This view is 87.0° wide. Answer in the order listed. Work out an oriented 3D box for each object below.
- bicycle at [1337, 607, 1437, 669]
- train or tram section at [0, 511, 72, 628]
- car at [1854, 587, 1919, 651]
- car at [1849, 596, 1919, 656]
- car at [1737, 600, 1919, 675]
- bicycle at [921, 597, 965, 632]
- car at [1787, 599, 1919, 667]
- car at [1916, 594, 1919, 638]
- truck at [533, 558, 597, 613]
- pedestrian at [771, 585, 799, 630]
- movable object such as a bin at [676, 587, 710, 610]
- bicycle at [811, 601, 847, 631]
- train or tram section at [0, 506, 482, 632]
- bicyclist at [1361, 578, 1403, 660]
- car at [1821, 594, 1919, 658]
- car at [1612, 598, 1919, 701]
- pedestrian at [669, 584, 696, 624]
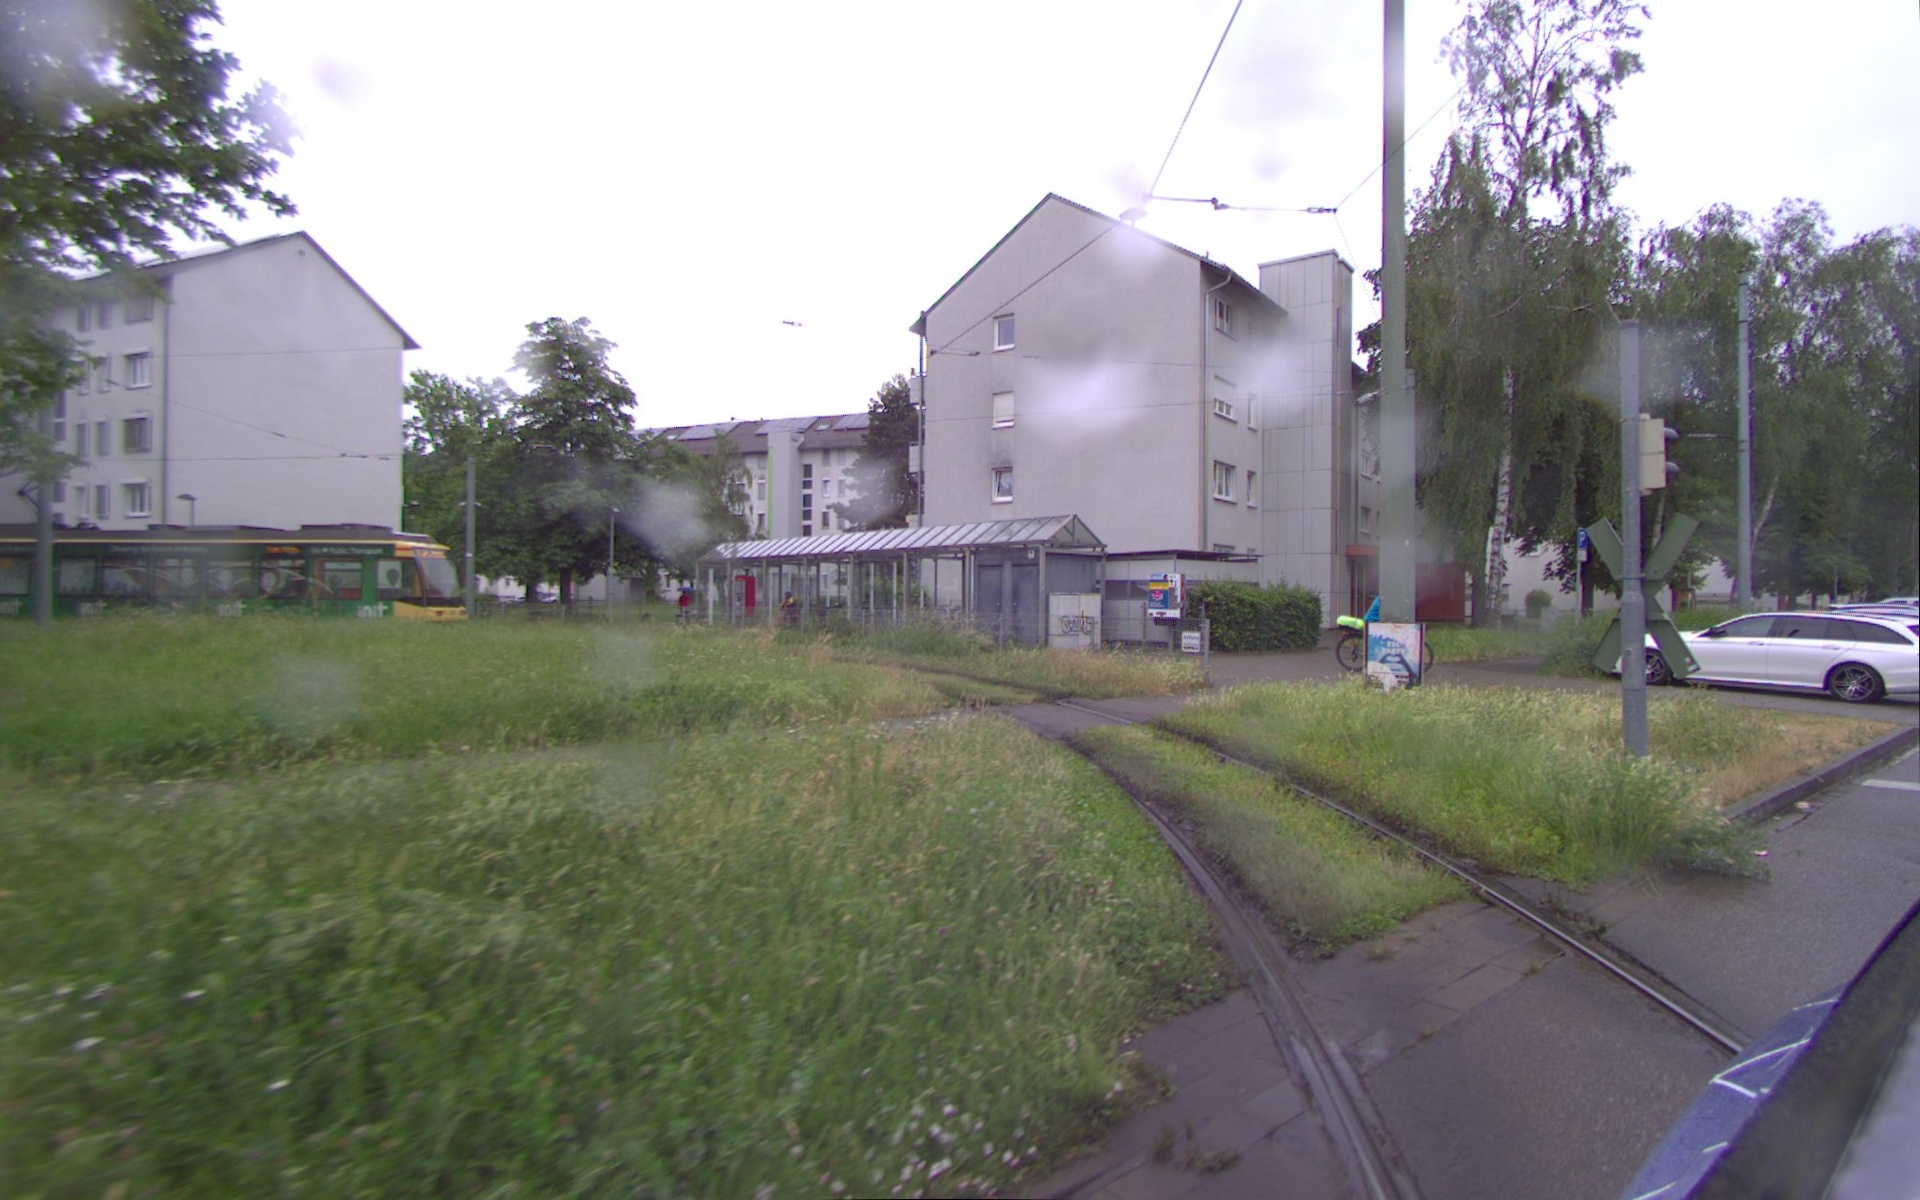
[{"bbox_3d":[8.209,0.722,19.541,1.731,1.144,0.724,0,-1,20],"label":"bicycle"},{"bbox_3d":[-36.885,-0.963,33.073,14.481,3.636,2.709,0,-1,6],"label":"train or tram section"},{"bbox_3d":[32.623,0.611,33.436,1.694,2.088,4.434,0,-2,-43],"label":"car"},{"bbox_3d":[30.669,0.790,31.345,1.692,1.870,4.440,0,-2,-38],"label":"car"},{"bbox_3d":[19.389,0.784,21.729,1.692,1.505,3.995,0,-2,-39],"label":"car"},{"bbox_3d":[-0.473,0.401,28.180,1.215,0.968,0.377,0,-2,-37],"label":"bicycle"},{"bbox_3d":[23.250,0.798,25.071,1.692,1.606,3.995,0,-2,-39],"label":"car"},{"bbox_3d":[45.331,0.706,44.570,1.866,1.968,4.541,1,-1,-41],"label":"car"},{"bbox_3d":[-27.662,-0.955,70.727,3.138,3.518,7.153,0,-2,-30],"label":"truck"},{"bbox_3d":[-6.329,0.272,36.644,0.776,1.593,0.635,0,-2,-41],"label":"pedestrian"},{"bbox_3d":[-23.719,-0.116,89.932,1.883,2.040,2.219,-2,-2,24],"label":"movable object such as a bin"},{"bbox_3d":[-4.304,0.514,33.368,0.414,0.959,1.292,-2,-2,34],"label":"bicycle"},{"bbox_3d":[-22.476,-0.907,31.480,14.481,3.636,2.709,0,-1,6],"label":"train or tram section"},{"bbox_3d":[8.155,0.364,19.572,0.690,1.536,0.720,0,-2,19],"label":"bicyclist"},{"bbox_3d":[28.777,0.762,30.190,1.692,1.870,4.440,0,-2,-38],"label":"car"},{"bbox_3d":[14.732,0.788,18.049,1.964,1.476,4.838,1,2,-39],"label":"car"},{"bbox_3d":[-13.385,0.187,48.857,1.165,1.908,1.055,-1,-2,-12],"label":"pedestrian"}]
